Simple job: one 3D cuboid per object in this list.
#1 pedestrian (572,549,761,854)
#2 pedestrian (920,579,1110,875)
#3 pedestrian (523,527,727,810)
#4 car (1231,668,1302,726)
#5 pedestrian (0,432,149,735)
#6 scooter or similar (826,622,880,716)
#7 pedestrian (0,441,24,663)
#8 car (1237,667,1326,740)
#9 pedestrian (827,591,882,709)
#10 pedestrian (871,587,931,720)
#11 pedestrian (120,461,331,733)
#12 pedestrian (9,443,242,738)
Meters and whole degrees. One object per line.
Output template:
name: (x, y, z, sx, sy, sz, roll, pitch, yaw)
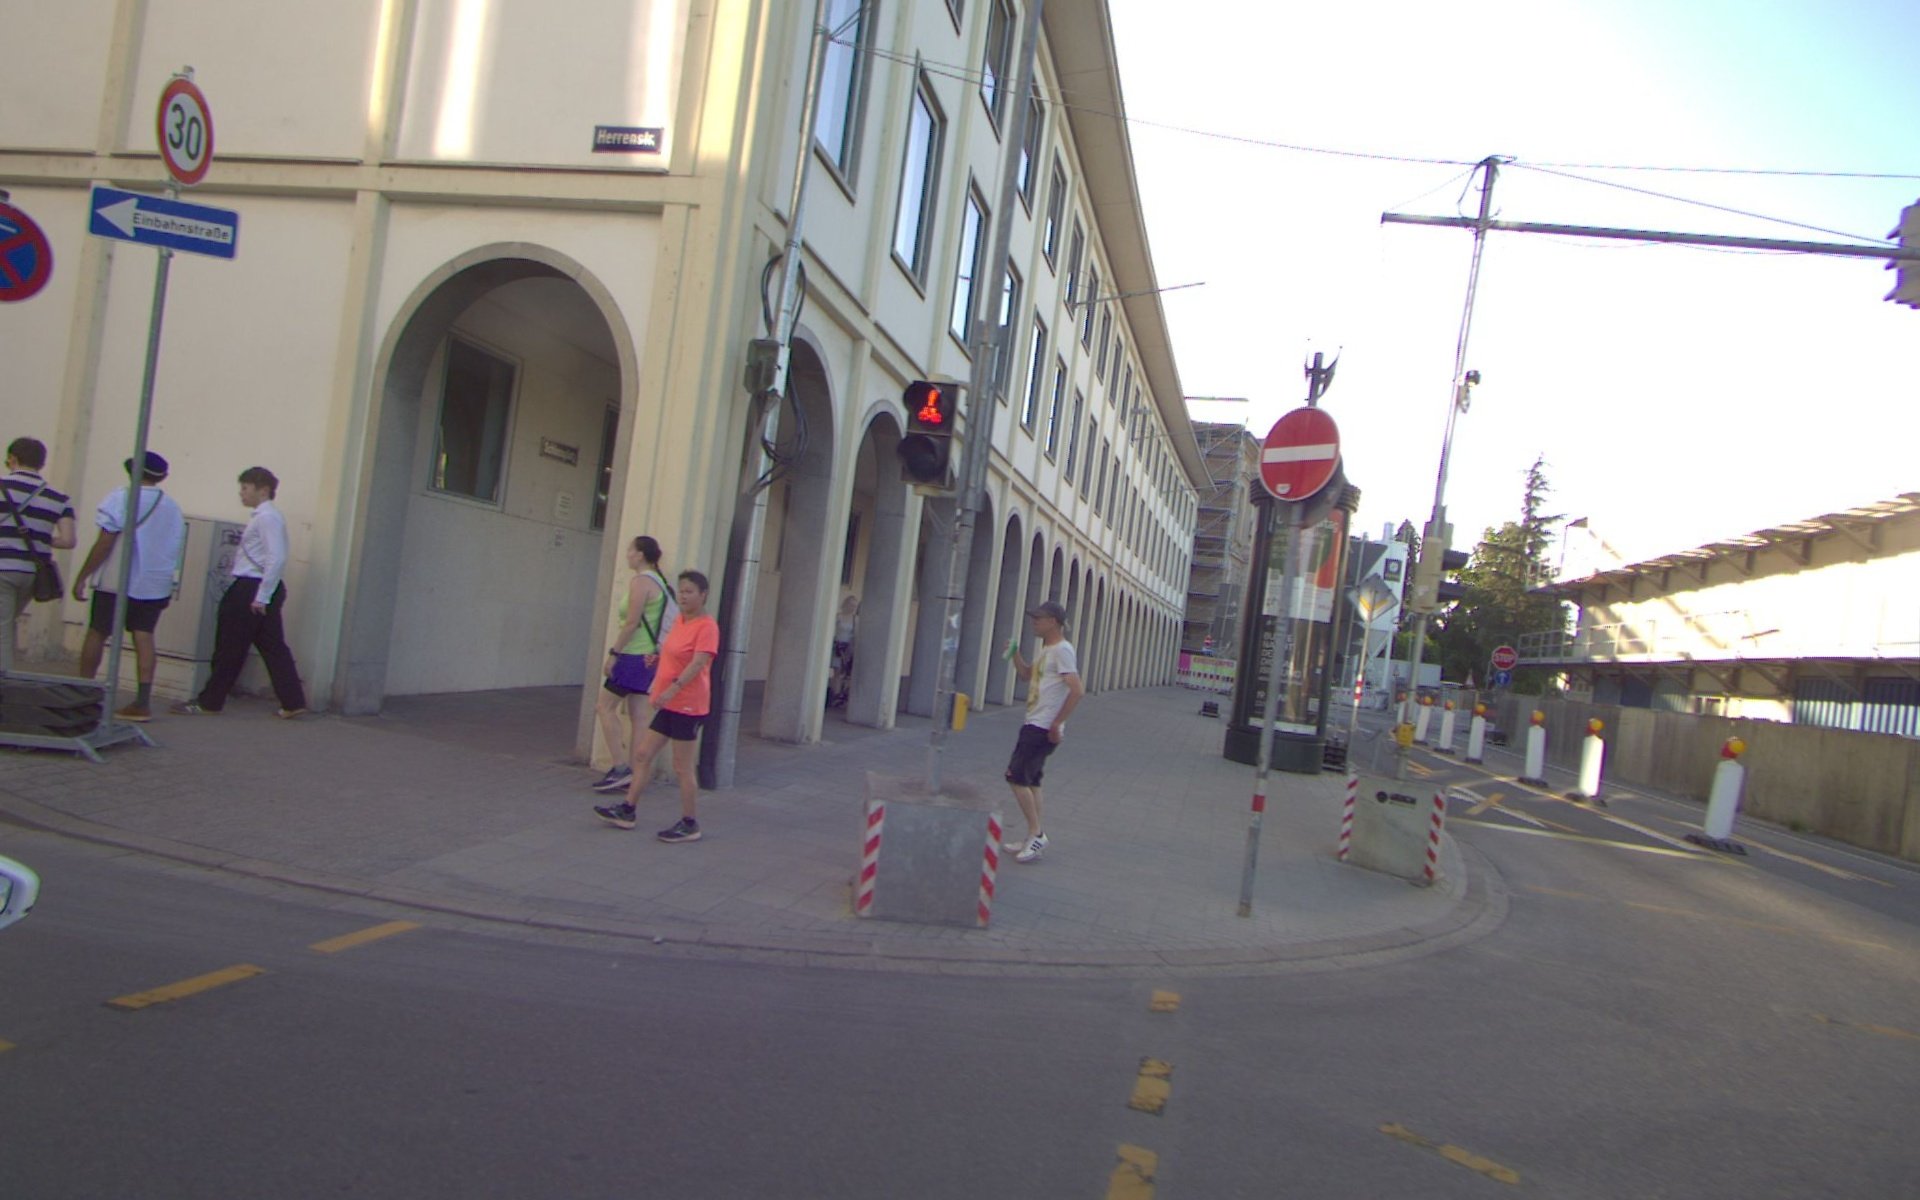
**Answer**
pedestrian: (-1.746, 0.575, 6.046, 0.713, 1.646, 0.619, 8, 3, 13)
pedestrian: (0.396, 0.808, 6.765, 0.959, 1.749, 0.799, 7, 0, 13)
pedestrian: (-2.290, 0.444, 6.926, 0.949, 1.732, 0.675, 8, 3, 13)
car: (10.050, 3.170, 33.079, 1.894, 1.482, 4.006, 9, -2, 17)
pedestrian: (-6.202, -0.157, 6.566, 1.223, 1.826, 0.716, 7, 3, 13)
scooter or similar: (-1.509, 0.955, 14.237, 0.609, 1.173, 0.956, 7, 2, -6)
pedestrian: (-8.315, -0.433, 8.130, 0.761, 1.826, 0.711, 7, 3, 13)
car: (8.510, 2.724, 26.799, 1.894, 1.482, 4.006, 9, -2, 17)
pedestrian: (-1.571, 0.736, 15.066, 0.609, 1.646, 0.725, 7, 3, -6)
pedestrian: (-0.903, 0.785, 15.134, 0.631, 1.865, 0.725, 7, 3, -8)
pedestrian: (-5.363, -0.028, 7.373, 0.923, 1.801, 0.711, 7, 3, 13)
pedestrian: (-5.640, -0.071, 6.826, 0.923, 1.801, 0.711, 7, 3, 13)
